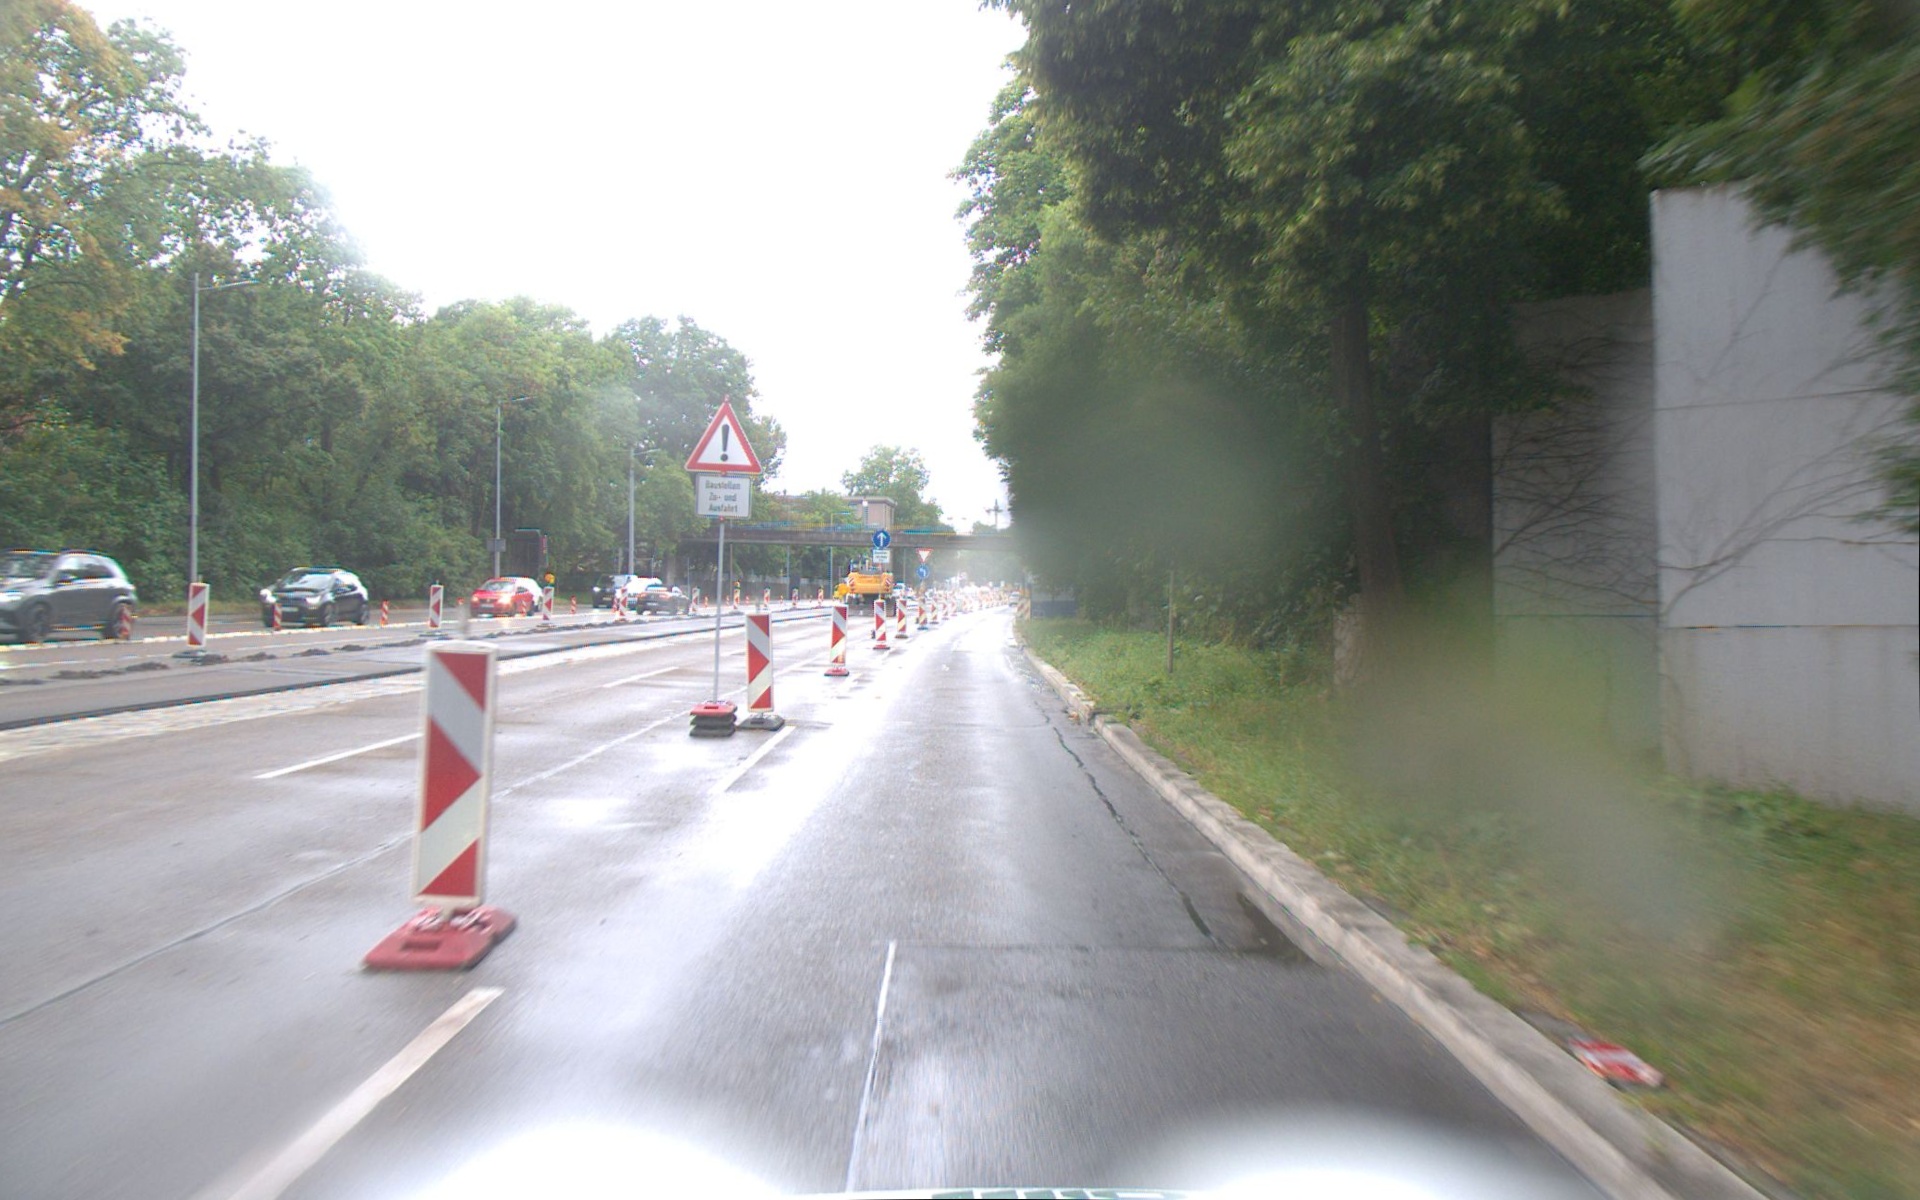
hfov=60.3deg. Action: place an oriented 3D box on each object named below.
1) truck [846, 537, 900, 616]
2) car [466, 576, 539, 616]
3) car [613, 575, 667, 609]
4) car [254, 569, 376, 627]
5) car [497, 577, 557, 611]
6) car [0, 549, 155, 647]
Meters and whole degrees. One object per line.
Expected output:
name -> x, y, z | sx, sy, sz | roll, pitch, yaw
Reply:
truck -> -5.069, -1.354, 98.311 | 2.839, 4.333, 10.752 | 2, 0, -2
car -> -17.546, -0.149, 63.592 | 1.645, 1.425, 4.013 | 2, 0, 0
car -> -16.870, -0.415, 87.355 | 1.851, 1.690, 4.893 | 2, 0, 0
car -> -18.029, -0.051, 46.459 | 1.740, 1.513, 4.196 | 2, 0, 0
car -> -19.993, -0.268, 76.482 | 1.644, 1.522, 4.149 | 0, 0, 0
car -> -18.052, -0.075, 32.488 | 1.980, 1.755, 5.012 | 2, 0, 0
